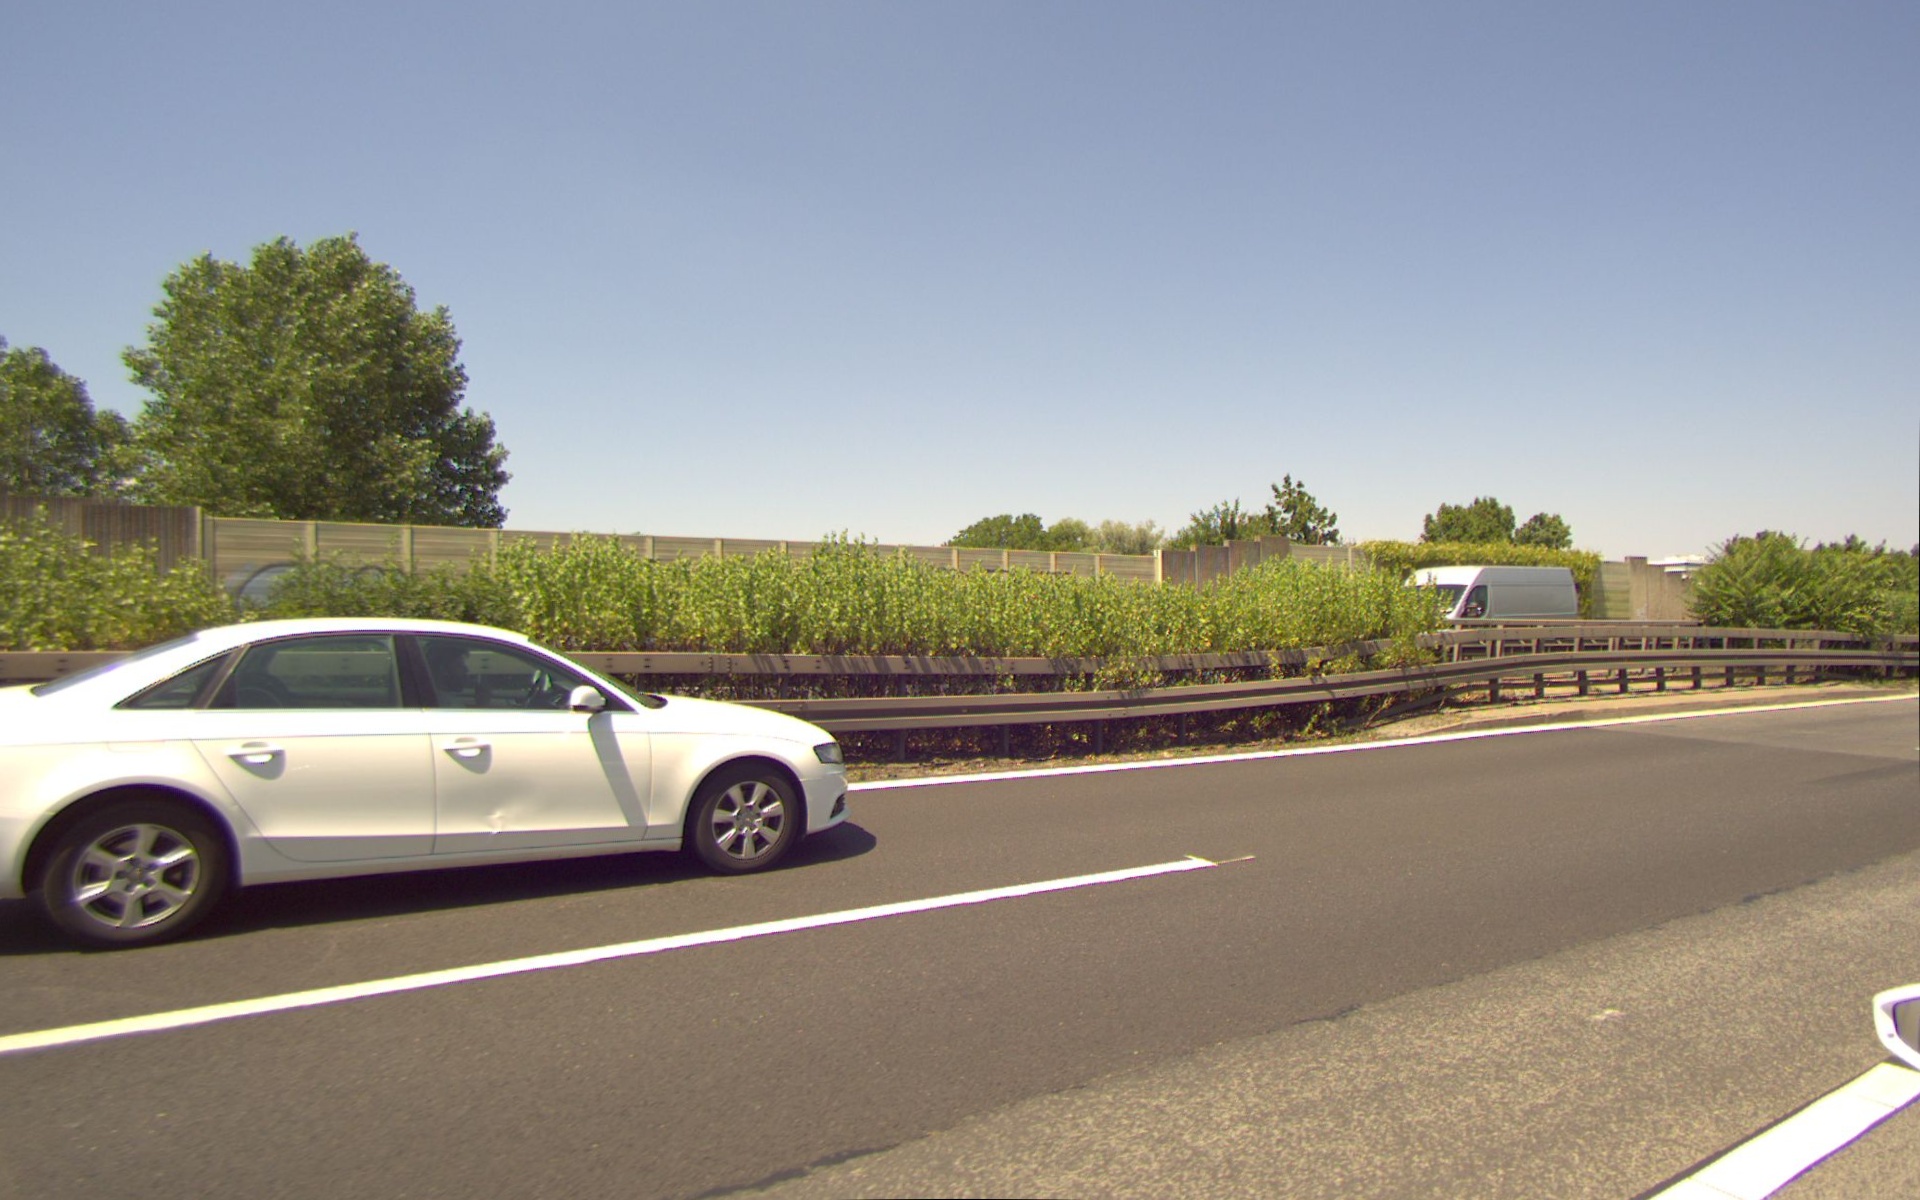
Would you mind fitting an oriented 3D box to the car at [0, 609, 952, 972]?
[{"bbox_3d":[-2.699,0.823,5.866,5.066,1.459,1.867,1,-1,-31],"label":"car"}]

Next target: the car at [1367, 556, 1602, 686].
[{"bbox_3d":[12.784,0.522,24.312,6.150,2.795,2.229,1,-1,-32],"label":"car"}]
